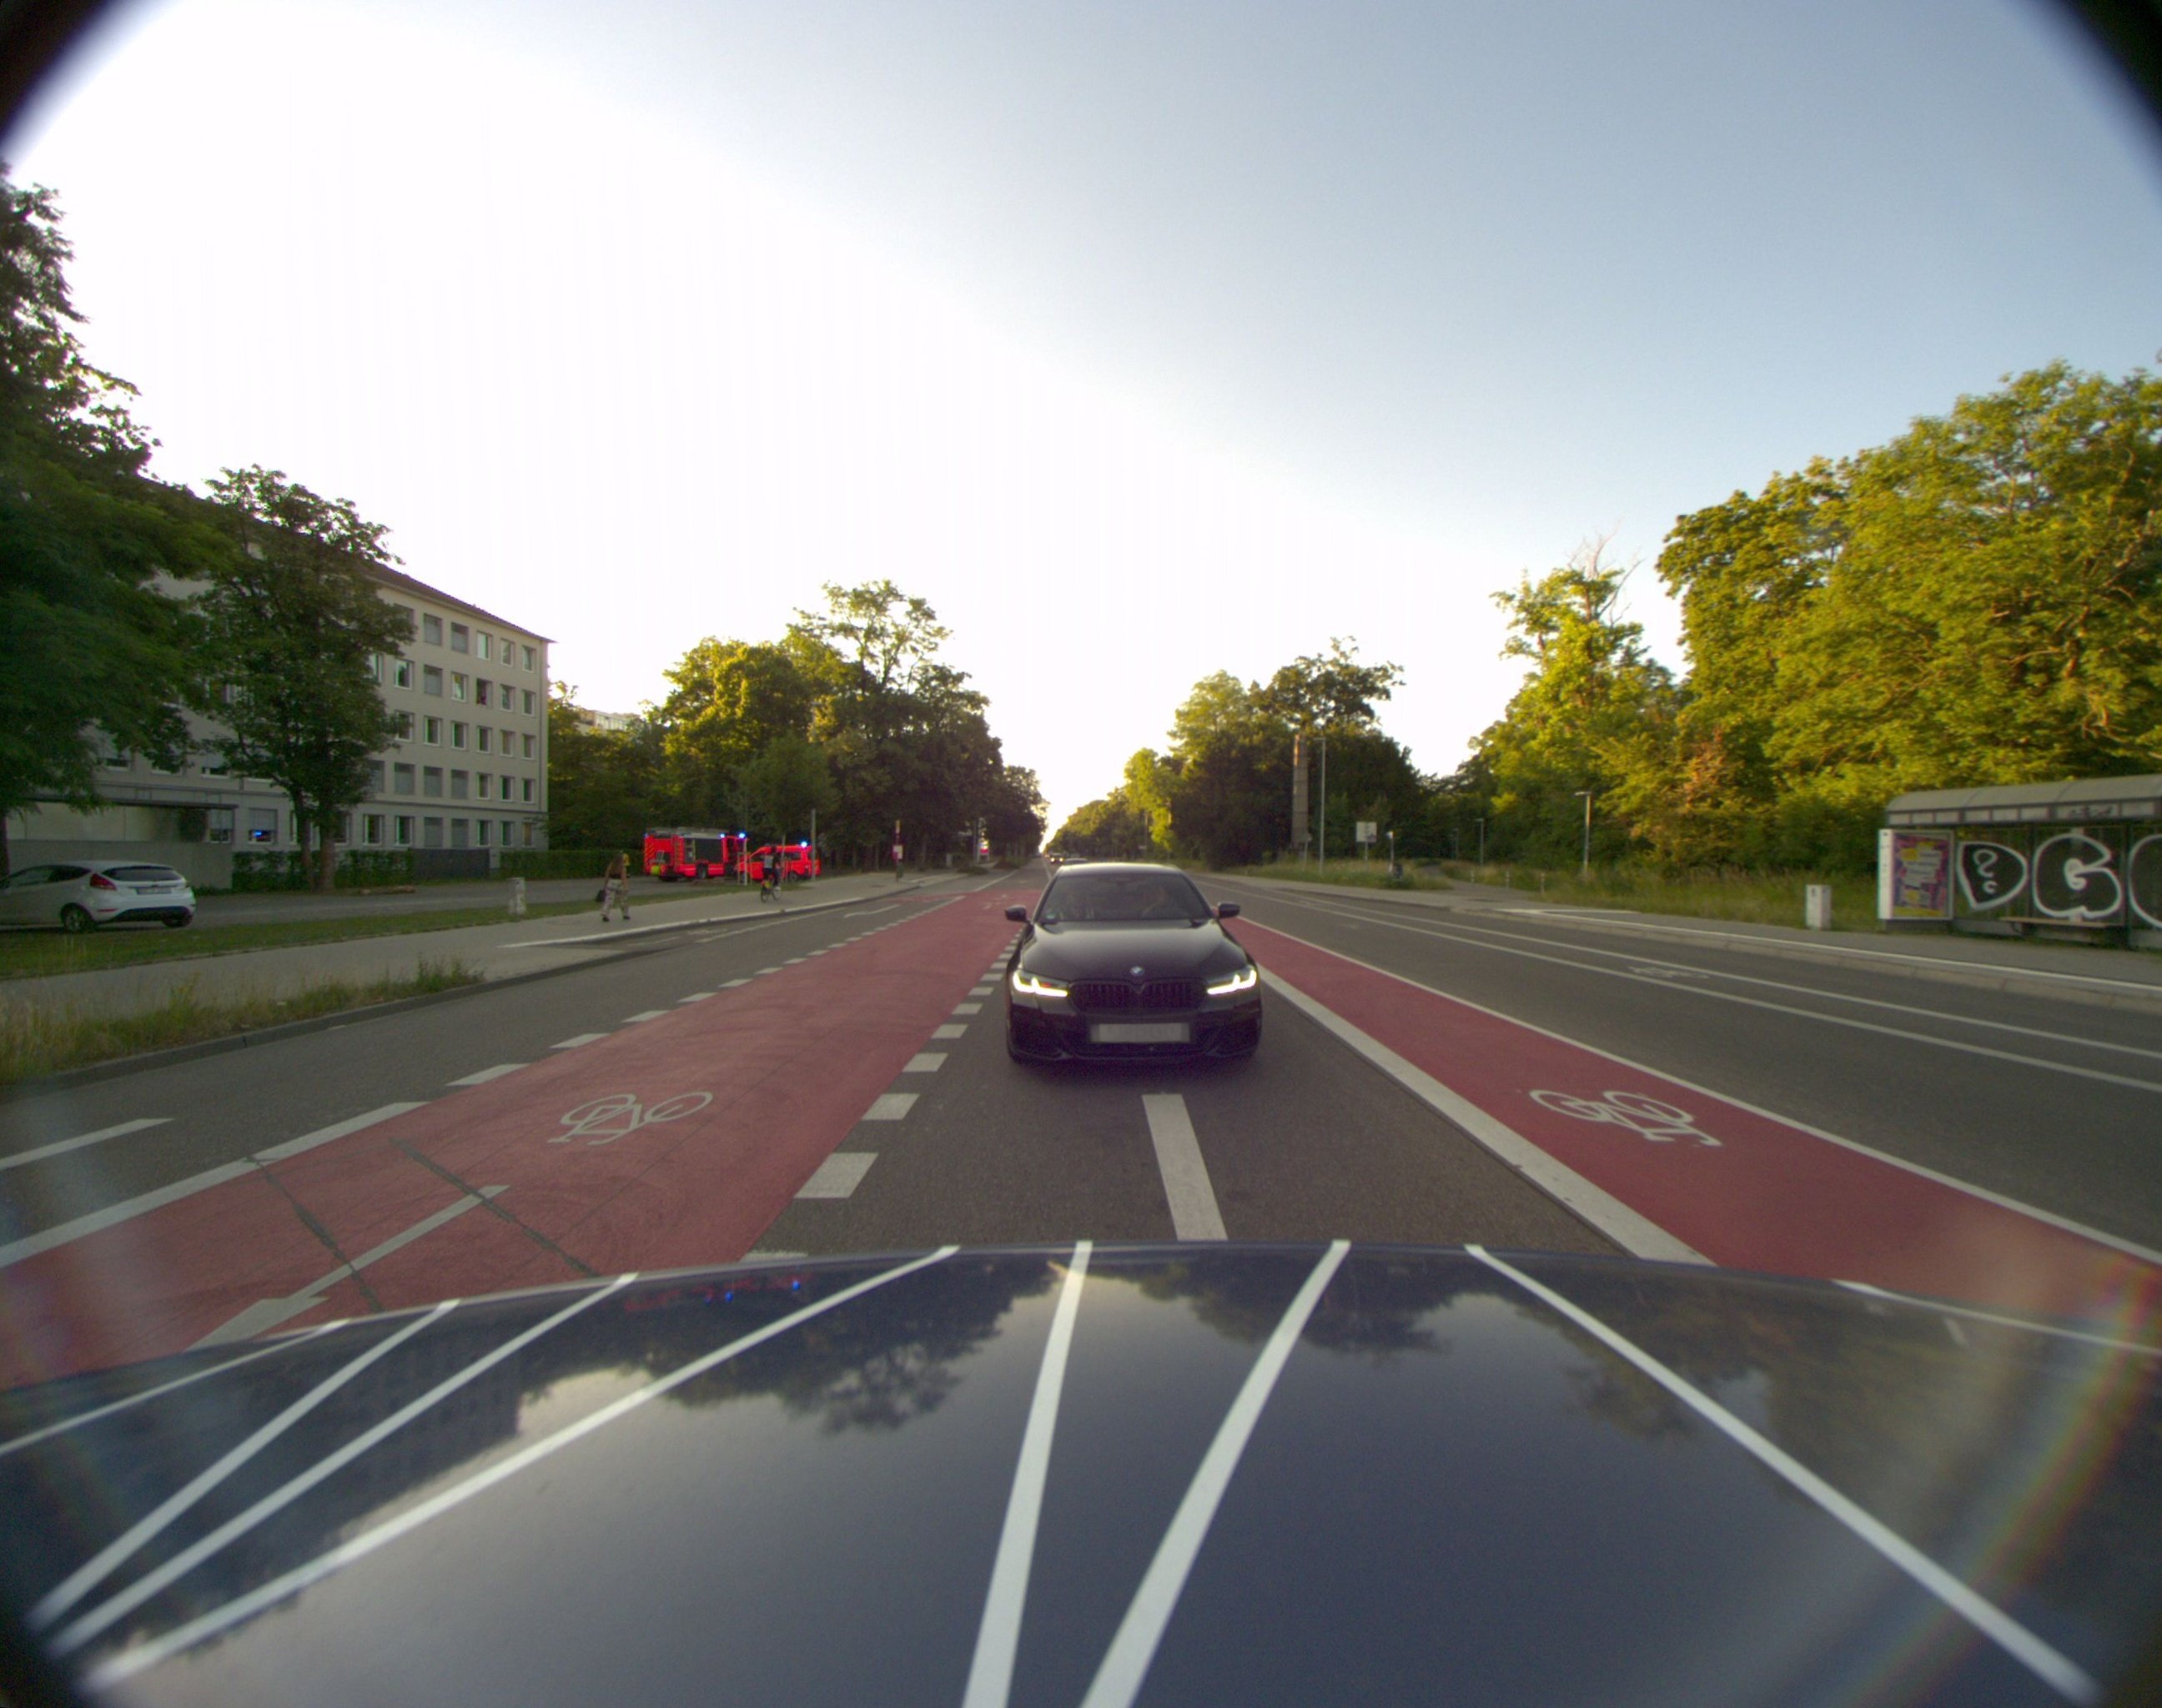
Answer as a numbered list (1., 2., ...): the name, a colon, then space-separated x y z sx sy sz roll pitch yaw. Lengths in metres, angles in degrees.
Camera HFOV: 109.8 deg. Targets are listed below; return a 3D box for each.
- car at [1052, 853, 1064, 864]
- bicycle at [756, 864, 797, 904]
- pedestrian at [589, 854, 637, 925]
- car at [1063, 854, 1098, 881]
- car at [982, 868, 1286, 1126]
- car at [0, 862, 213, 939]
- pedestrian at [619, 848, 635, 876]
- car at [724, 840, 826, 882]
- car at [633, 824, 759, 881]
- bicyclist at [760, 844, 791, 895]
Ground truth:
1. car: -3.526 0.664 115.770 1.850 1.473 4.702 -2 0 -2
2. bicycle: -9.937 0.957 24.869 0.571 1.233 1.899 0 1 1
3. pedestrian: -10.789 0.805 17.540 0.682 1.613 0.688 0 0 1
4. car: -0.076 0.741 43.310 1.850 1.346 4.702 -2 0 -1
5. car: 0.271 0.920 7.266 1.818 1.391 5.212 -2 0 -1
6. car: -20.821 0.925 15.880 3.662 1.451 1.665 0 1 5
7. pedestrian: -29.599 0.524 49.537 0.847 1.831 0.681 0 0 -27
8. car: -17.941 0.397 44.709 5.164 2.379 2.000 0 1 3
9. car: -23.621 -0.134 47.239 2.770 3.225 8.301 0 0 7
10. bicyclist: -9.936 0.485 24.751 0.571 1.623 1.038 0 1 1
